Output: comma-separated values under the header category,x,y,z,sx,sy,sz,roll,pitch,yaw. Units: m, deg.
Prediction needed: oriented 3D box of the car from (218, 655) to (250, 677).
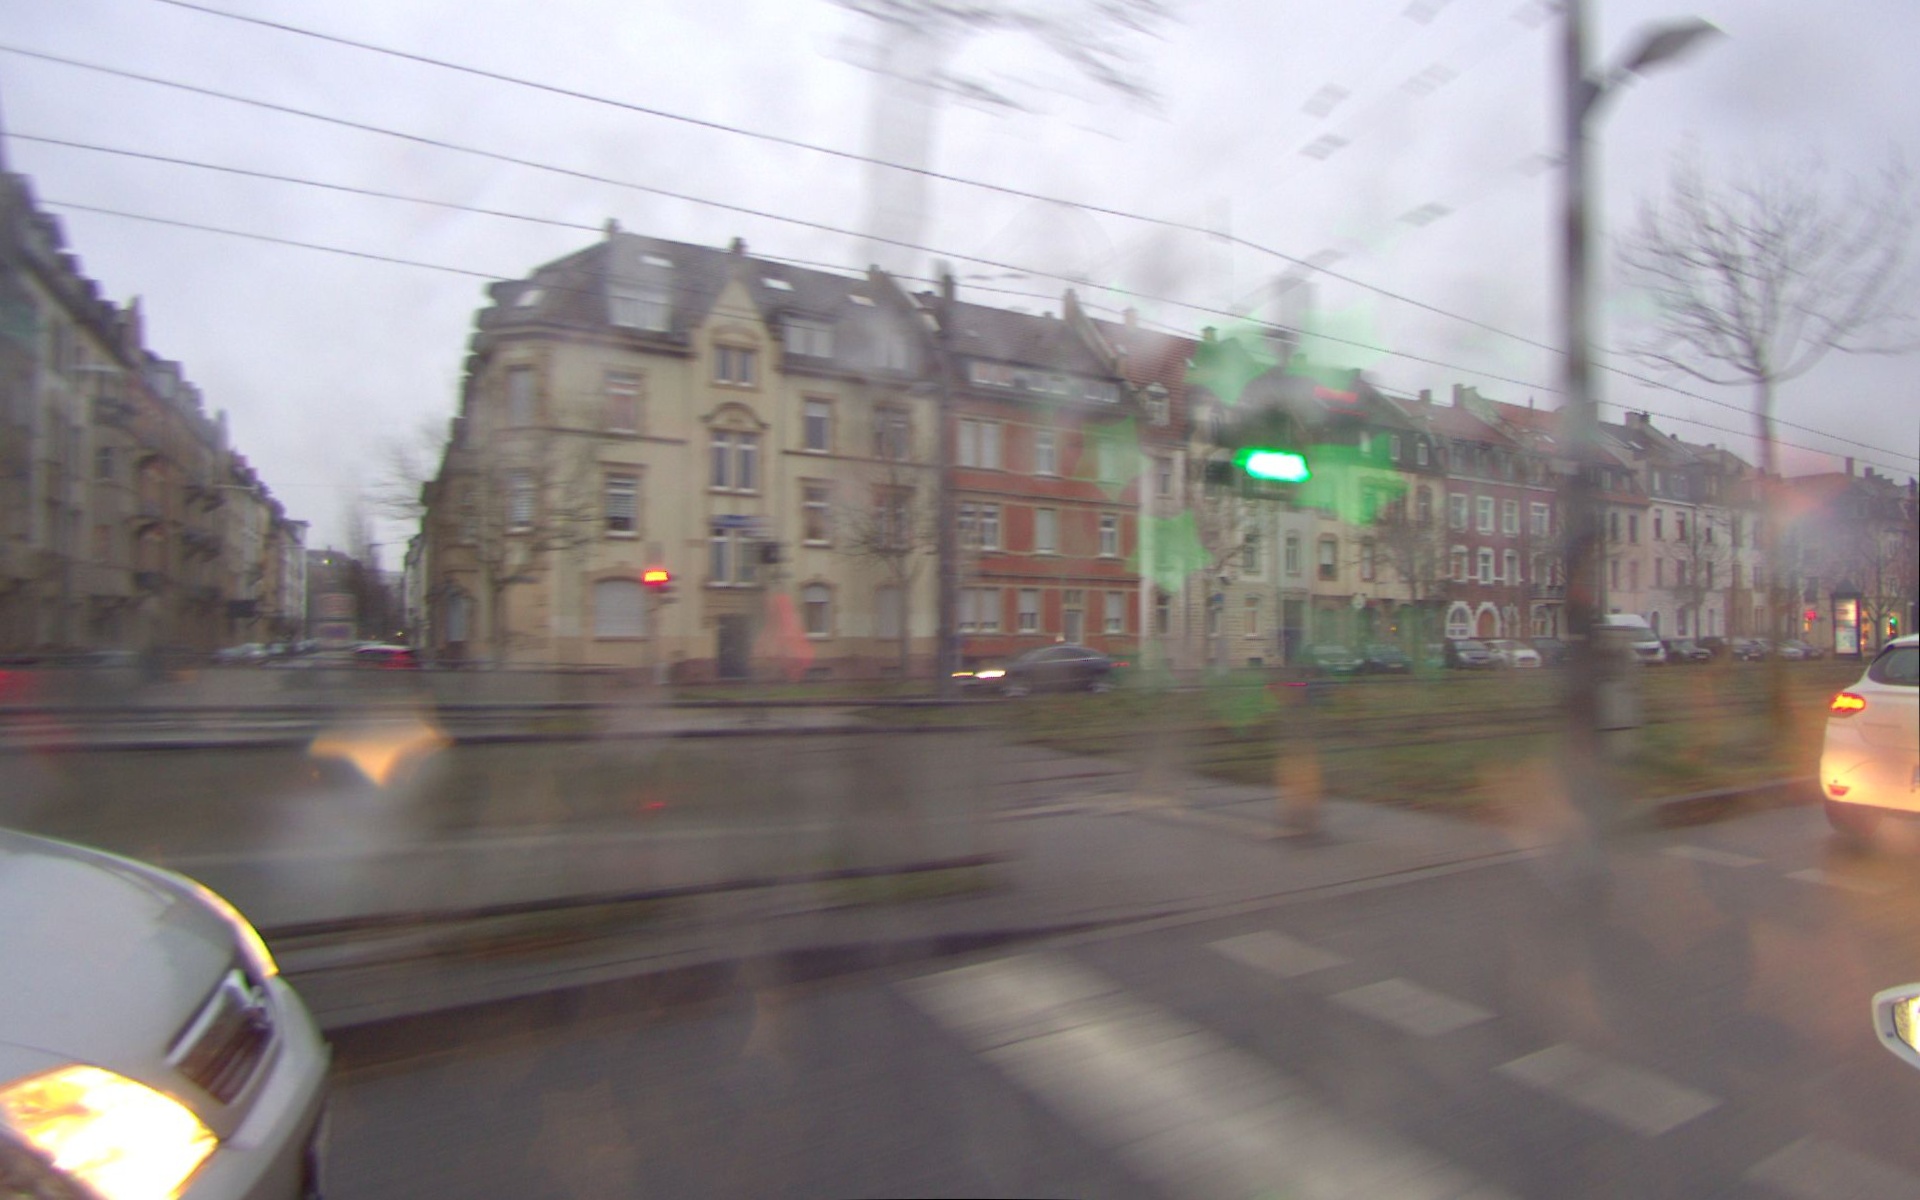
category,x,y,z,sx,sy,sz,roll,pitch,yaw
car,-45.272,4.083,62.650,1.316,1.305,2.877,1,-3,-30

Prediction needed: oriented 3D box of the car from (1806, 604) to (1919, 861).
category,x,y,z,sx,sy,sz,roll,pitch,yaw
car,7.919,0.874,7.158,4.006,1.621,1.664,1,-1,-30

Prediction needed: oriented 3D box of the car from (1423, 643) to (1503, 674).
category,x,y,z,sx,sy,sz,roll,pitch,yaw
car,22.921,2.631,45.935,1.960,1.349,4.003,0,-2,6

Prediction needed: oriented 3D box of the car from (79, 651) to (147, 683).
category,x,y,z,sx,sy,sz,roll,pitch,yaw
car,-30.013,2.344,35.636,1.316,1.089,2.877,1,-3,-30

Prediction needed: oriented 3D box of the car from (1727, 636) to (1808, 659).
category,x,y,z,sx,sy,sz,roll,pitch,yaw
car,48.402,2.859,60.313,1.959,1.349,4.003,0,-2,7

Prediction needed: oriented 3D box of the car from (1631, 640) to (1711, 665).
category,x,y,z,sx,sy,sz,roll,pitch,yaw
car,39.675,2.932,56.154,1.959,1.349,4.003,0,-2,7

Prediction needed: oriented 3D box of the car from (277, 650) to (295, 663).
category,x,y,z,sx,sy,sz,roll,pitch,yaw
car,-66.480,5.555,99.087,1.316,1.305,2.877,1,-3,-30

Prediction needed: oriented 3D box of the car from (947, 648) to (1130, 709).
category,x,y,z,sx,sy,sz,roll,pitch,yaw
car,2.113,2.033,26.678,4.644,1.472,1.856,1,-3,-30

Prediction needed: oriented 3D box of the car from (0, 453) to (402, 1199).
category,x,y,z,sx,sy,sz,roll,pitch,yaw
car,-2.906,0.627,1.068,4.005,1.621,1.801,1,-1,-30

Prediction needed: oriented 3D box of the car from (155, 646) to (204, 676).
category,x,y,z,sx,sy,sz,roll,pitch,yaw
car,-35.307,2.726,45.476,1.316,1.305,2.877,1,-3,-30

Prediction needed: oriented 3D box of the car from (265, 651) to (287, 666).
category,x,y,z,sx,sy,sz,roll,pitch,yaw
car,-60.932,5.197,89.516,1.316,1.305,2.877,1,-3,-30

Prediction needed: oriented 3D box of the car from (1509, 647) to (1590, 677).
category,x,y,z,sx,sy,sz,roll,pitch,yaw
car,28.653,2.993,48.987,1.959,1.349,4.003,0,-2,7

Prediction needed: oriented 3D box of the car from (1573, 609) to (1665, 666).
category,x,y,z,sx,sy,sz,roll,pitch,yaw
car,34.583,1.991,52.956,1.959,2.834,5.872,-1,-2,12

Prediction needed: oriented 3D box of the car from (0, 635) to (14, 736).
category,x,y,z,sx,sy,sz,roll,pitch,yaw
car,-17.452,1.390,15.386,3.953,1.659,1.855,1,-1,-30

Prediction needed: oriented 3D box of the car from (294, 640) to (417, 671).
category,x,y,z,sx,sy,sz,roll,pitch,yaw
car,-24.966,2.305,41.591,3.925,1.228,1.869,0,-3,-7

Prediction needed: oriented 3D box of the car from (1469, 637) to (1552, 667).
category,x,y,z,sx,sy,sz,roll,pitch,yaw
car,25.914,2.451,47.427,1.960,1.349,4.003,0,-2,5

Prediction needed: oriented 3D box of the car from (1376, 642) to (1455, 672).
category,x,y,z,sx,sy,sz,roll,pitch,yaw
car,19.002,2.355,42.098,1.959,1.184,4.003,-1,-2,8

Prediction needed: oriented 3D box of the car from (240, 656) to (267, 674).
category,x,y,z,sx,sy,sz,roll,pitch,yaw
car,-52.358,4.784,74.486,1.316,1.305,2.877,1,-3,-30

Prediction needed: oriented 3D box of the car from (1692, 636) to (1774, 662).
category,x,y,z,sx,sy,sz,roll,pitch,yaw
car,45.502,2.885,59.227,1.960,1.505,4.003,0,-2,4

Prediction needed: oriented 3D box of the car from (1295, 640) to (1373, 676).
category,x,y,z,sx,sy,sz,roll,pitch,yaw
car,14.840,2.294,40.049,1.959,1.349,4.003,0,-2,6

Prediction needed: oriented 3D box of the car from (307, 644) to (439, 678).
category,x,y,z,sx,sy,sz,roll,pitch,yaw
car,-22.515,2.321,38.635,3.925,1.228,1.869,0,-3,-7
